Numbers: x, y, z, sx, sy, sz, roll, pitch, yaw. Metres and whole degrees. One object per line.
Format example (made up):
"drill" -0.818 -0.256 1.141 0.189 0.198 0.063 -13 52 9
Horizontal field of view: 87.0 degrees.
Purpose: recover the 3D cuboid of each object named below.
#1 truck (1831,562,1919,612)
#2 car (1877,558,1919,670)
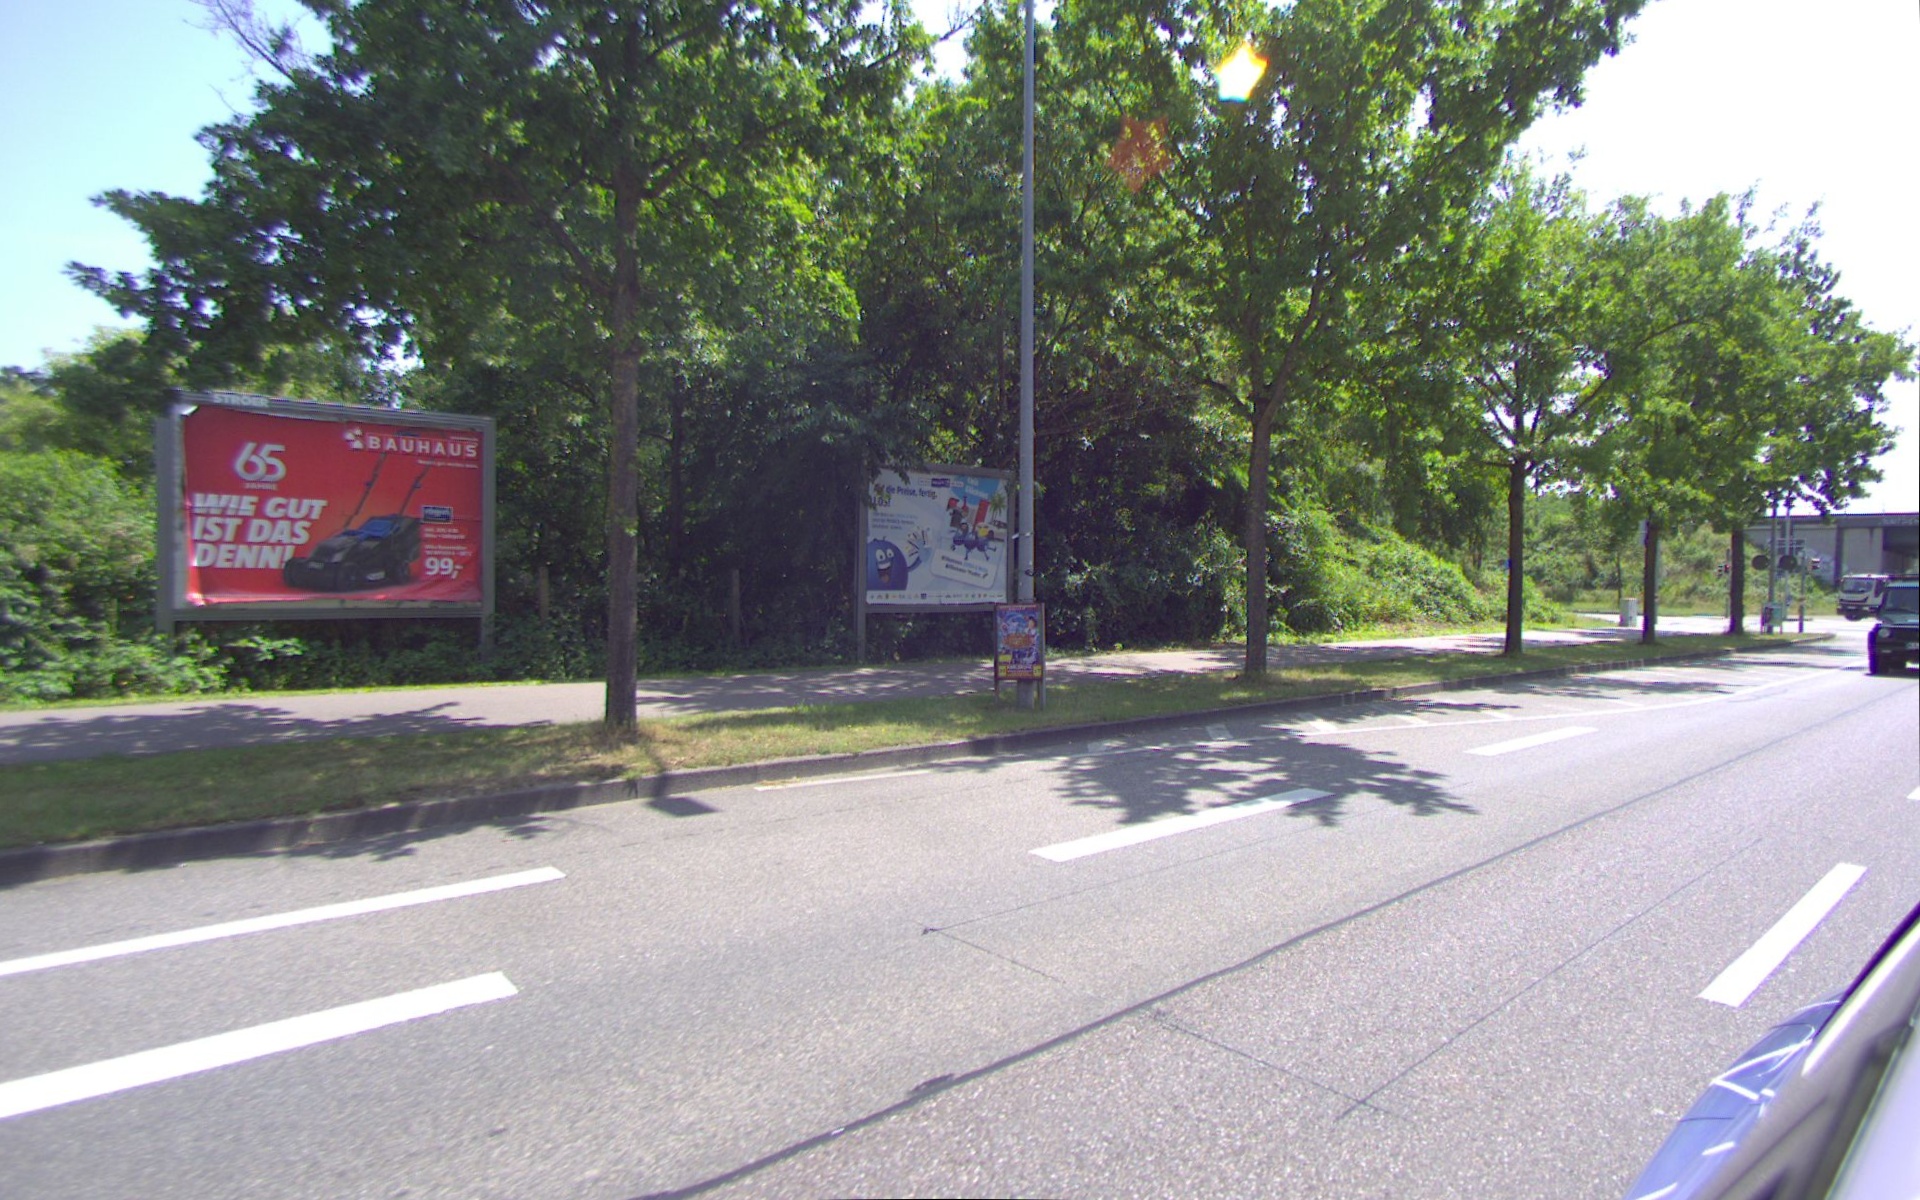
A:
"truck" 58.352 -0.780 61.681 8.346 2.952 2.890 0 0 -5
"car" 20.583 0.253 20.933 4.478 2.180 1.840 -1 2 -41
